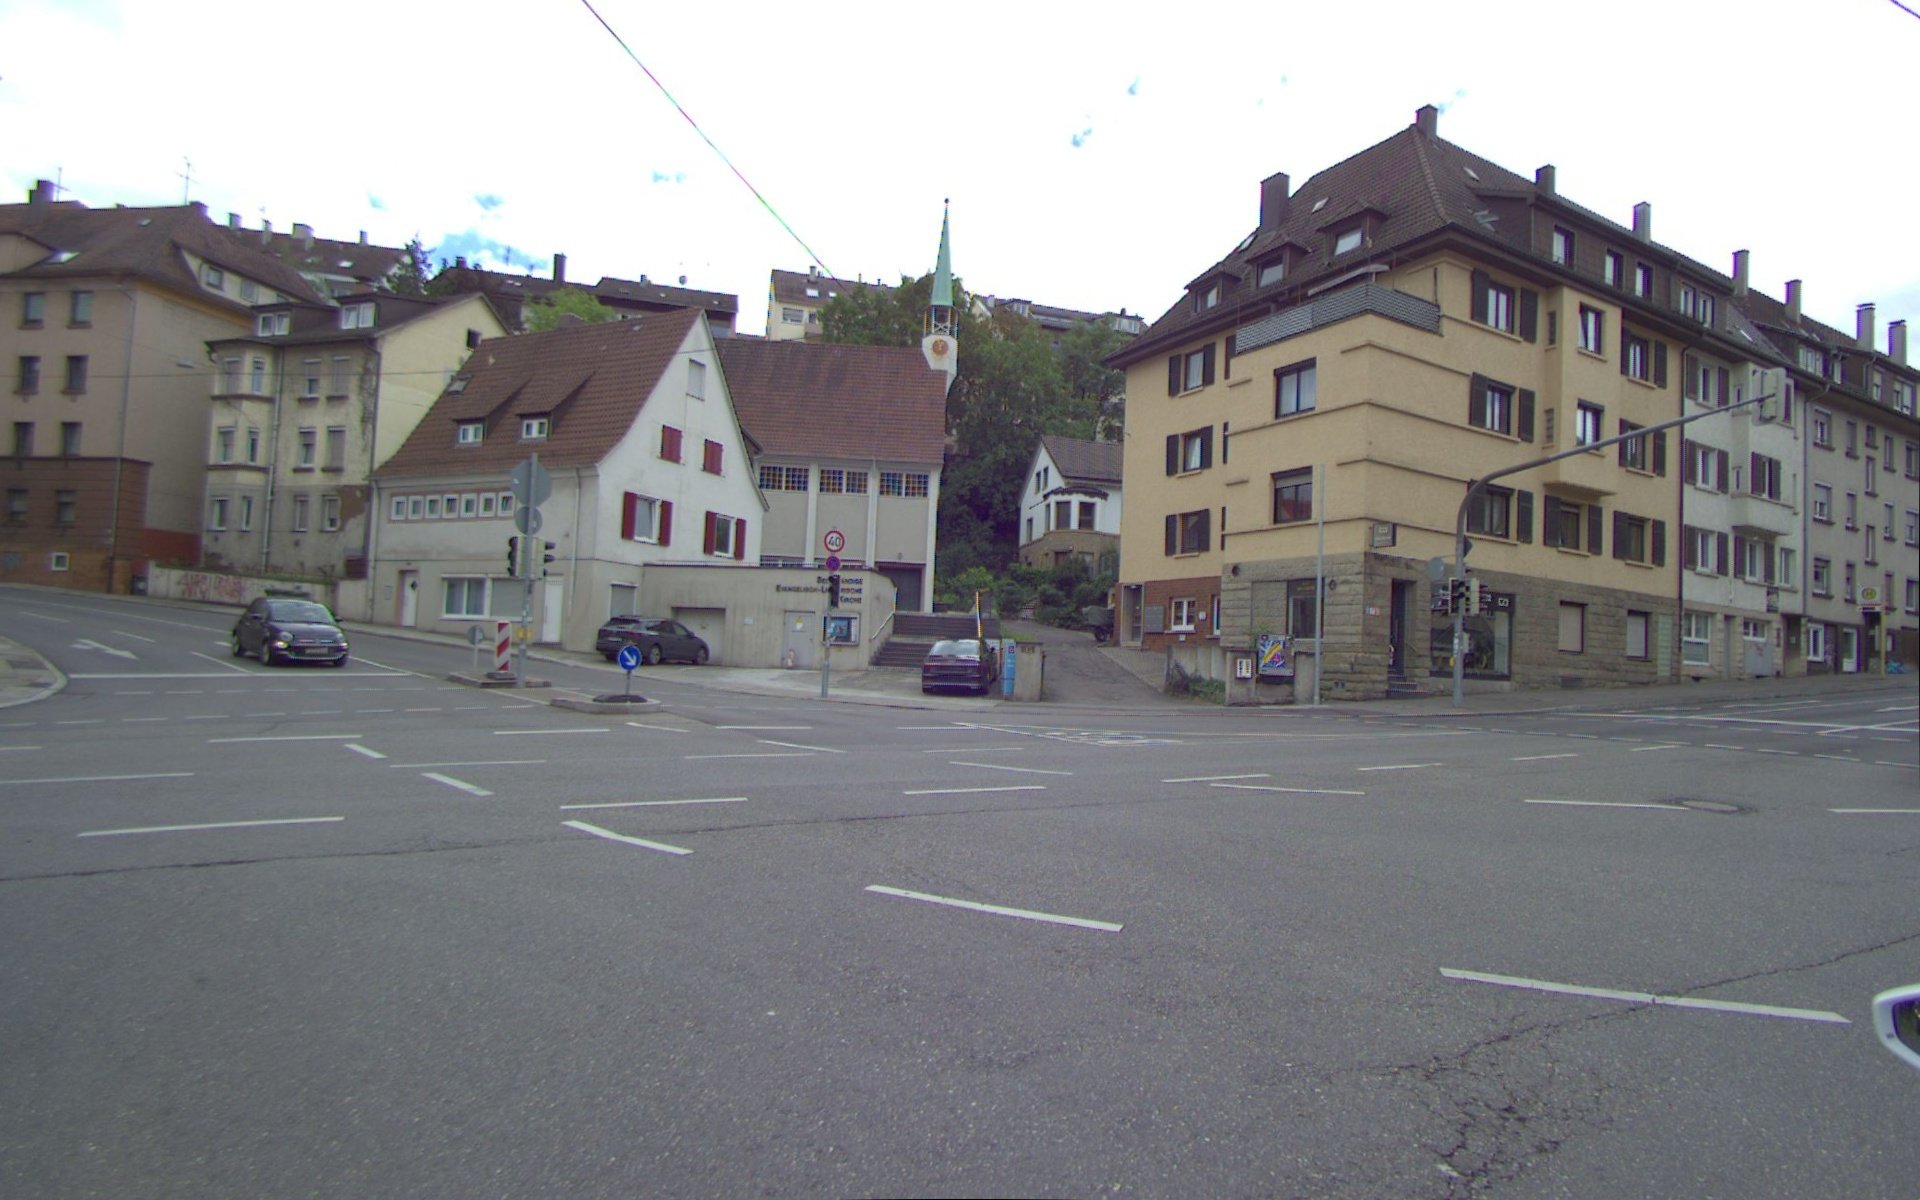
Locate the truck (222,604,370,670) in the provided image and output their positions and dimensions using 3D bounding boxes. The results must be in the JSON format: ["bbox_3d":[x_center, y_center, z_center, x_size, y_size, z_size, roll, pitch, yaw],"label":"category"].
[{"bbox_3d":[-15.793,0.841,23.825,3.939,1.437,1.844,0,-2,39],"label":"truck"}]

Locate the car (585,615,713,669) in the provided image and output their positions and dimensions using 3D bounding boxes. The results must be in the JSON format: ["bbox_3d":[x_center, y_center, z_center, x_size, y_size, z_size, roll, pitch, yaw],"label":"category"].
[{"bbox_3d":[-9.918,1.330,32.424,1.649,1.485,4.301,5,0,19],"label":"car"}]

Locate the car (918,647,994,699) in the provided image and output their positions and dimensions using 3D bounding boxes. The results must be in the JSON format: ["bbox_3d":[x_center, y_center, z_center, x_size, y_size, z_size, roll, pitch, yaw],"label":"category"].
[{"bbox_3d":[-0.050,2.040,28.772,1.799,1.205,4.002,2,-1,5],"label":"car"}]

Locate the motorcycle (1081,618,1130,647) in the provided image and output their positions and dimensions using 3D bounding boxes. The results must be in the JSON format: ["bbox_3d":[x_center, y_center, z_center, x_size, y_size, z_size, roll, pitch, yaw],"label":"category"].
[{"bbox_3d":[5.951,1.348,41.046,2.021,1.149,0.556,2,-1,-29],"label":"motorcycle"}]

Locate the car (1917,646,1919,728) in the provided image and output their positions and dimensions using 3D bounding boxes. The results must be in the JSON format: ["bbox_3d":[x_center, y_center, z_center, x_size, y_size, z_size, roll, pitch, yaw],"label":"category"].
[{"bbox_3d":[19.822,1.607,18.703,4.532,1.486,1.737,1,-2,-31],"label":"car"}]
